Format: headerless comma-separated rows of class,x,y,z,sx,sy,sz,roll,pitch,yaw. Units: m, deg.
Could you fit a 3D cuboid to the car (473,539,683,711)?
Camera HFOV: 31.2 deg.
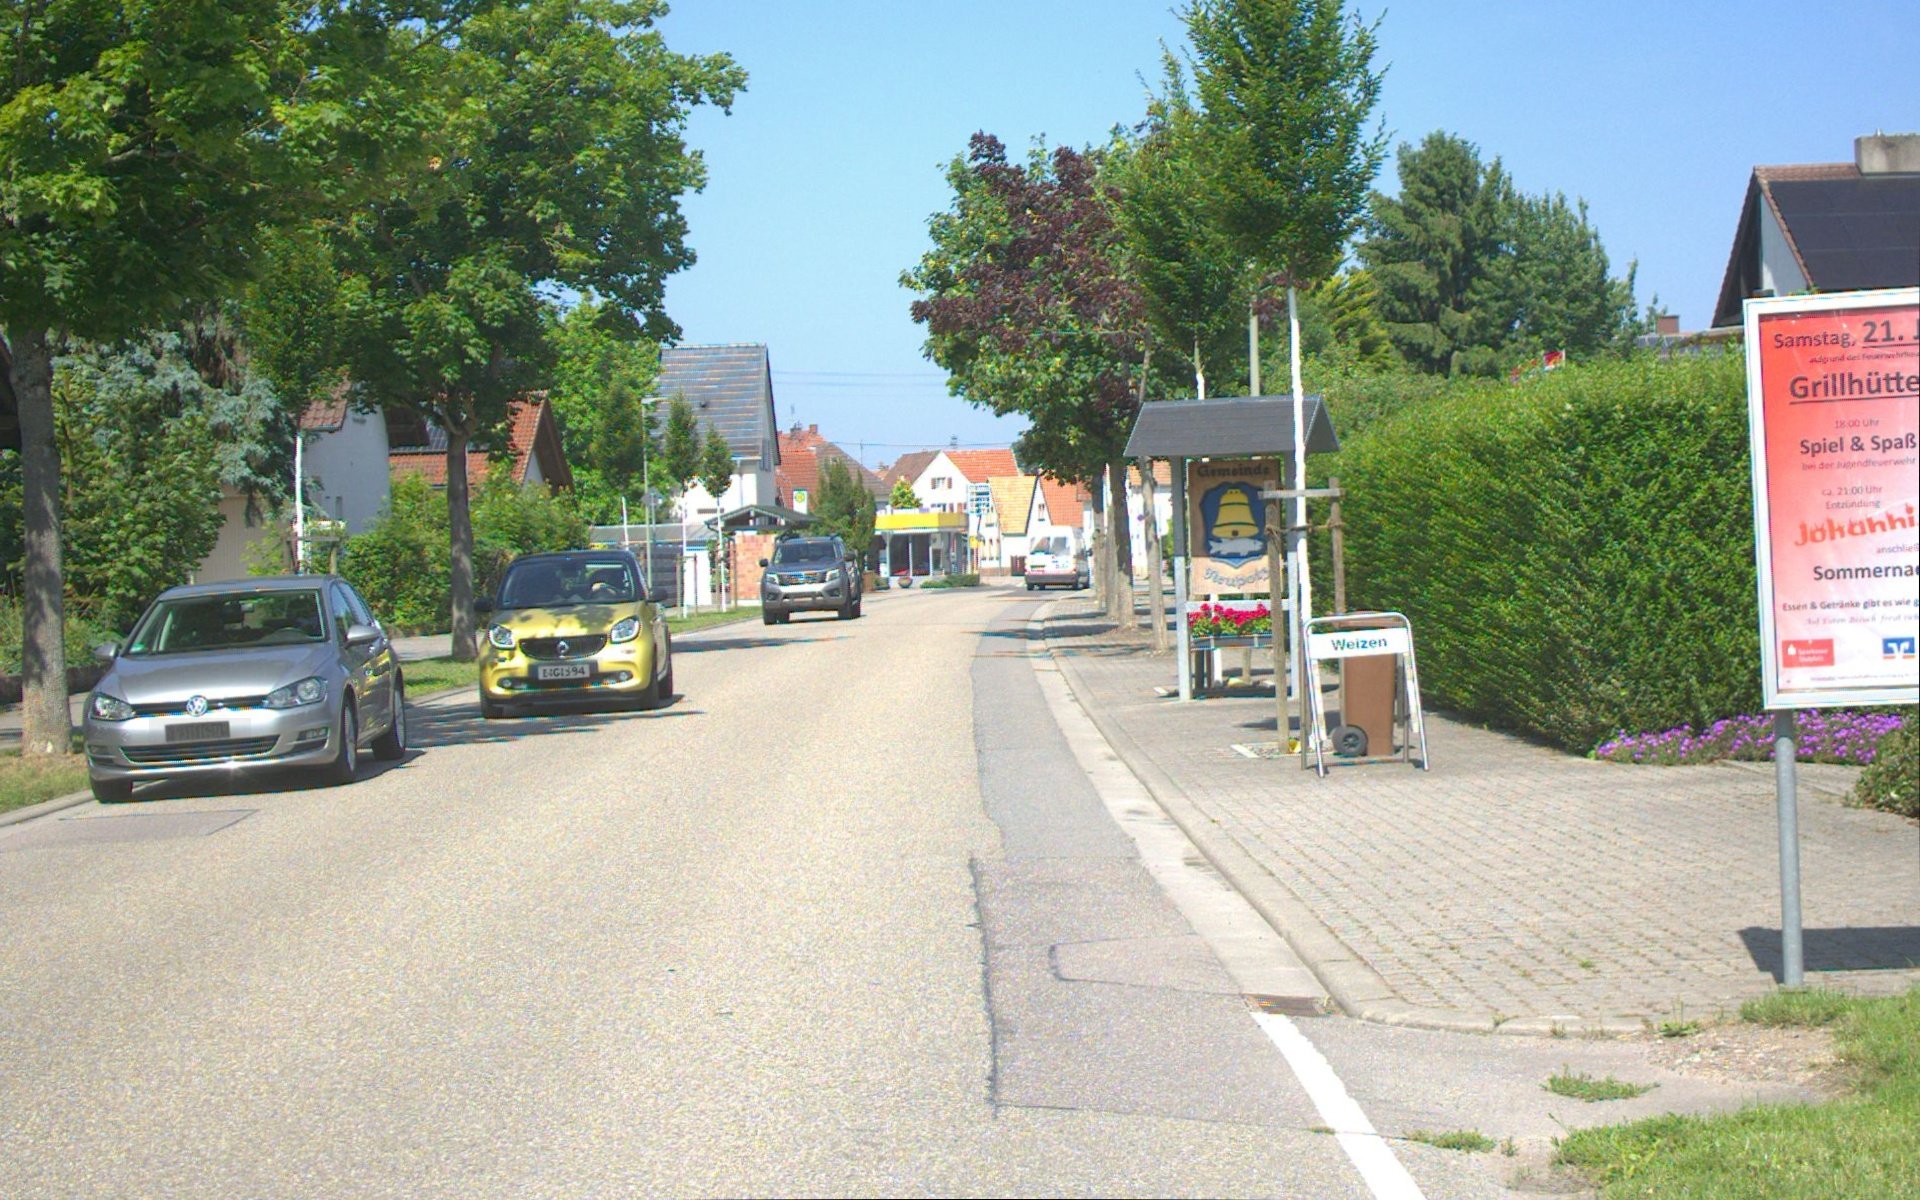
car,-3.684,0.206,33.620,1.666,1.519,3.443,-3,1,-1

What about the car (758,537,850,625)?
car,-3.303,-0.426,73.202,1.835,1.747,3.796,-2,1,-2

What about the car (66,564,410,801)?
car,-5.046,0.520,24.523,1.647,1.419,4.081,-4,1,-2

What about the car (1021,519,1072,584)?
car,3.373,-1.894,133.231,1.738,2.424,4.374,-2,1,4
